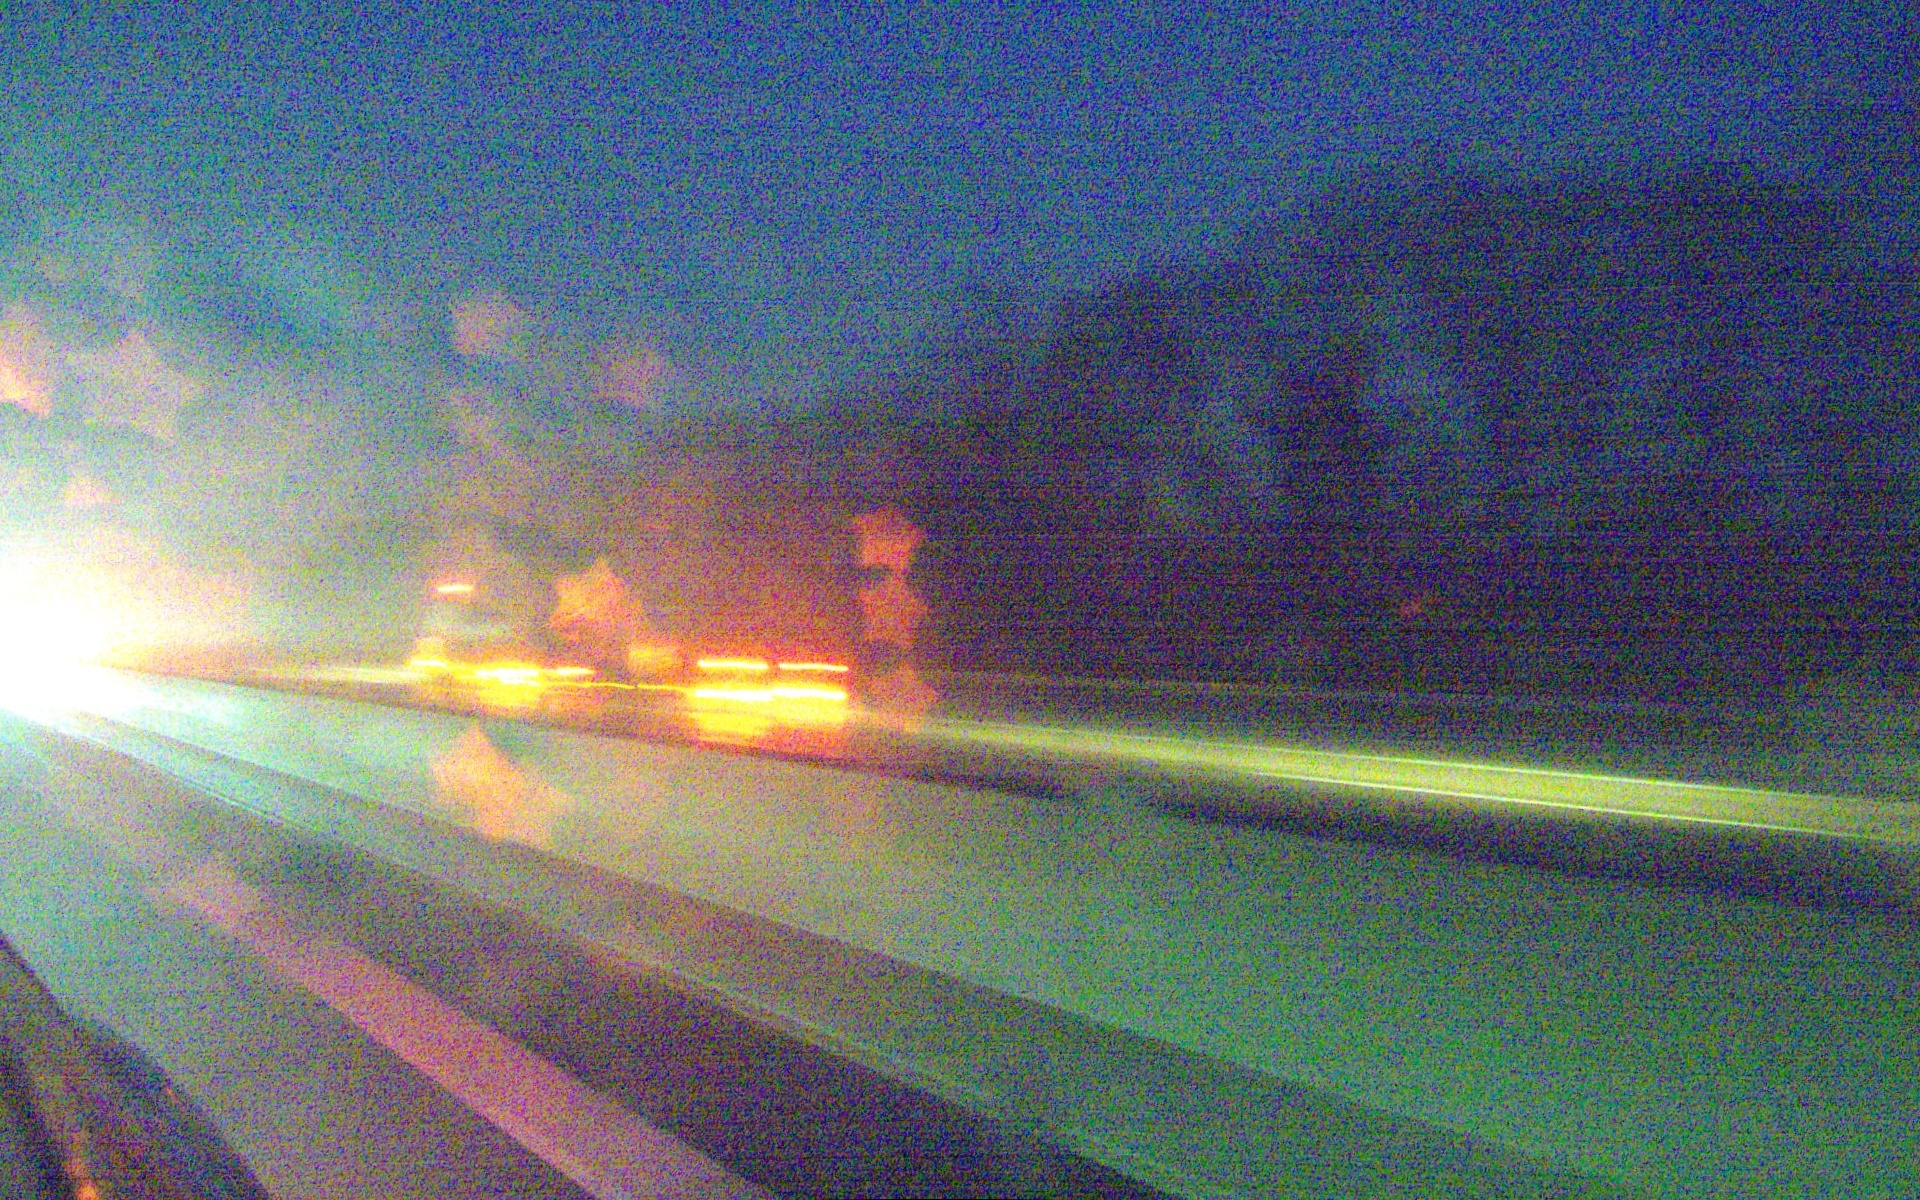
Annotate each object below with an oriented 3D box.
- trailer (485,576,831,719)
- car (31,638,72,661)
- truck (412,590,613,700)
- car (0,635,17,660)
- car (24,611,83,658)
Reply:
[{"bbox_3d":[-9.215,1.316,29.080,13.150,3.321,3.042,-2,-3,42],"label":"trailer"},{"bbox_3d":[-72.195,3.884,80.388,4.505,1.697,1.896,-1,-3,42],"label":"car"},{"bbox_3d":[-15.471,1.523,34.640,8.339,3.321,3.042,-2,-3,41],"label":"truck"},{"bbox_3d":[-67.724,3.310,71.004,4.505,1.697,1.896,-1,-3,42],"label":"car"},{"bbox_3d":[-98.956,3.804,110.385,10.593,4.764,3.666,-3,-1,42],"label":"car"}]
